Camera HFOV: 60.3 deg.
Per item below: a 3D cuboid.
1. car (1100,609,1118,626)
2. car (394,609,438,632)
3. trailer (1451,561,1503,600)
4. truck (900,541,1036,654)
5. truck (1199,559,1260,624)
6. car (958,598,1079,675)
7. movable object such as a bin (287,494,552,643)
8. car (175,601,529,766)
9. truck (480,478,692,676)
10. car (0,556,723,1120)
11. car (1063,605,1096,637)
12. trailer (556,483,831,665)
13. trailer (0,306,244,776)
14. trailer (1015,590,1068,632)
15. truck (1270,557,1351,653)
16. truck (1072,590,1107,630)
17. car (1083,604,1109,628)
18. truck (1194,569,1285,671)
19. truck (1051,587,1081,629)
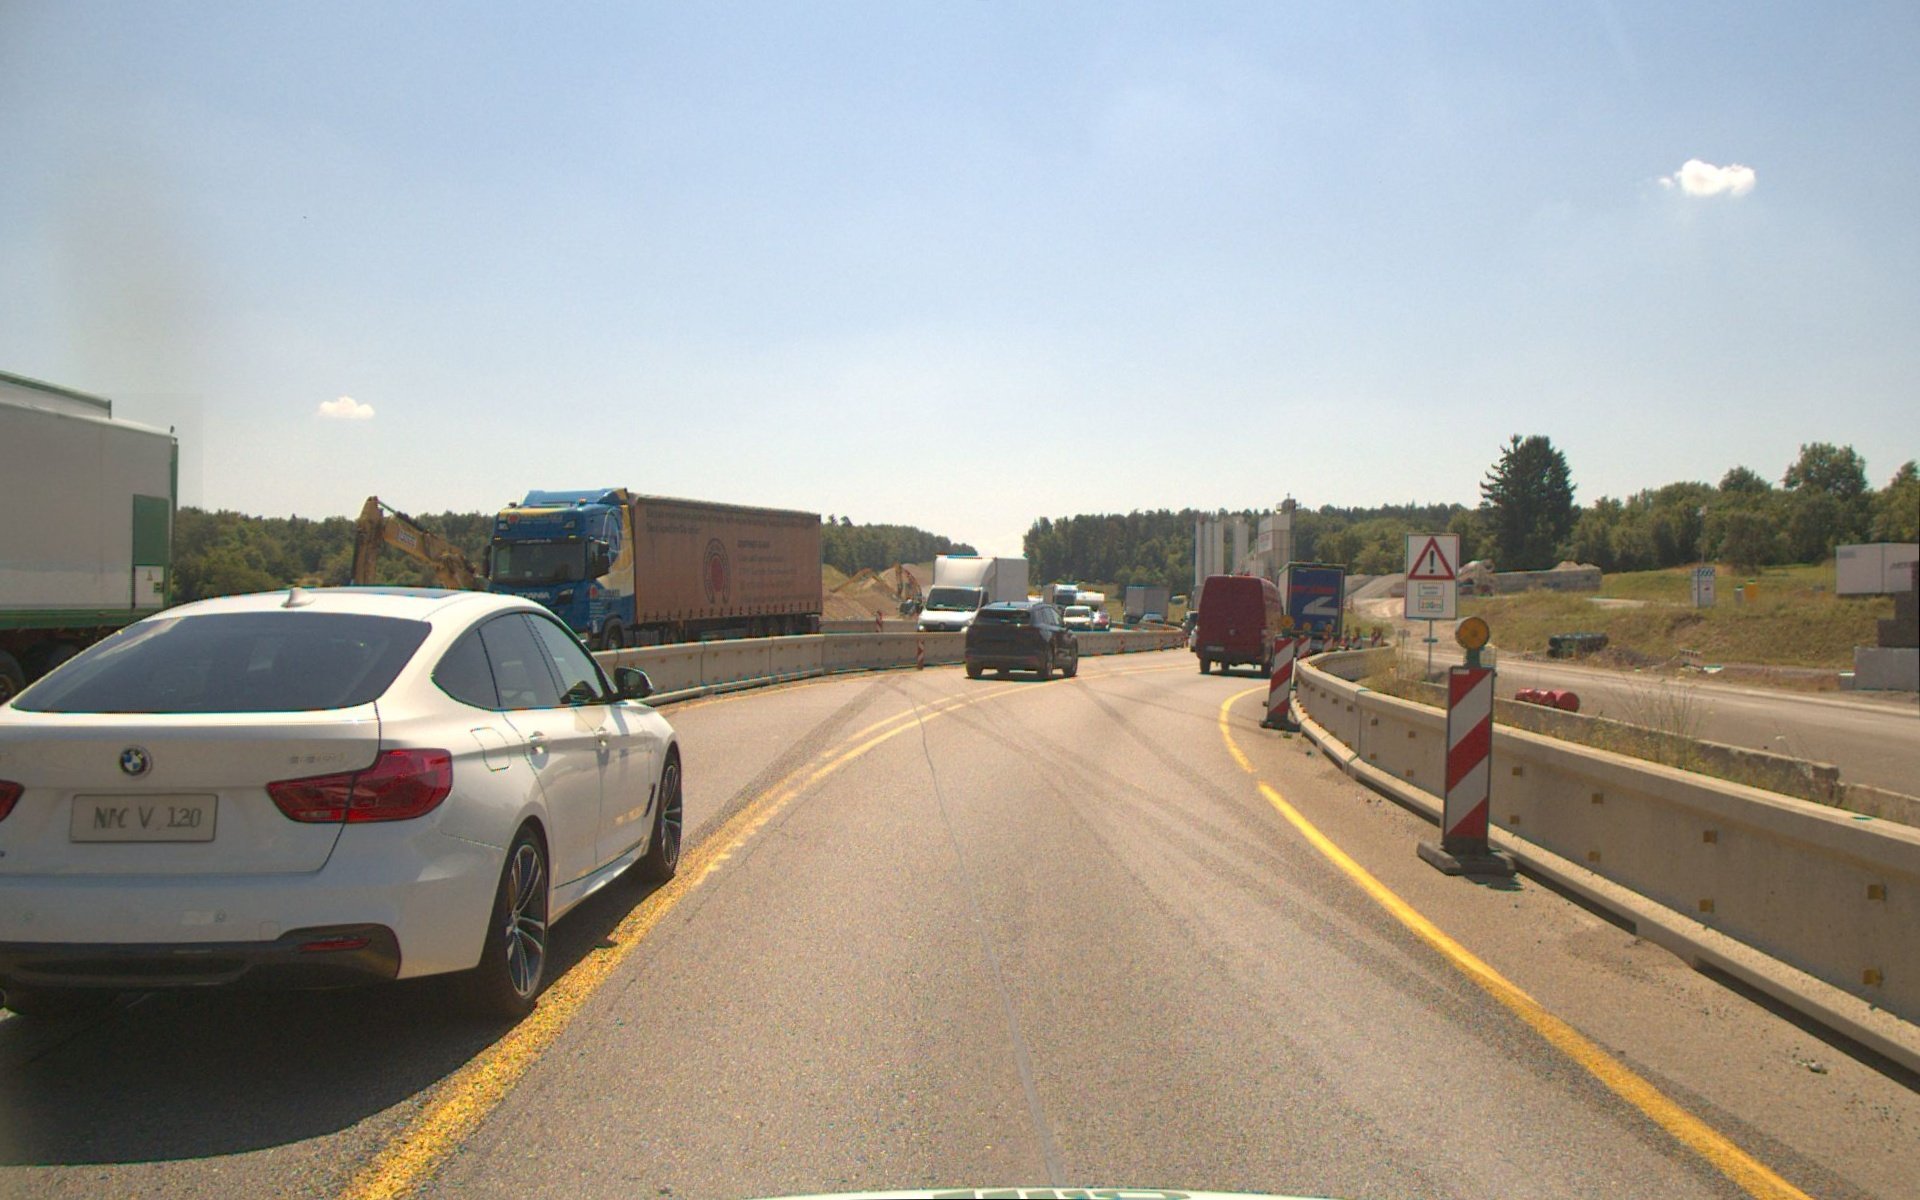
[{"bbox_3d":[14.681,1.709,162.875,1.625,1.633,4.399,1,0,7],"label":"car"},{"bbox_3d":[-34.529,1.292,105.047,1.580,1.434,4.443,1,0,-4],"label":"car"},{"bbox_3d":[56.543,-2.086,181.129,2.706,4.186,6.730,1,0,-10],"label":"trailer"},{"bbox_3d":[0.386,-0.076,54.507,2.525,3.440,6.931,1,0,17],"label":"truck"},{"bbox_3d":[20.725,-0.634,127.761,3.606,4.774,9.757,1,0,4],"label":"truck"},{"bbox_3d":[1.325,0.751,35.871,1.757,1.561,3.934,1,0,15],"label":"car"},{"bbox_3d":[-17.177,-0.924,53.533,2.864,4.405,9.326,1,0,21],"label":"movable object such as a bin"},{"bbox_3d":[-6.256,0.775,17.648,1.717,1.504,4.539,1,0,6],"label":"car"},{"bbox_3d":[-8.341,-0.492,37.589,2.490,4.152,5.550,1,0,13],"label":"truck"},{"bbox_3d":[-2.321,0.668,7.149,1.758,1.561,5.074,0,0,1],"label":"car"},{"bbox_3d":[7.725,1.301,106.409,1.826,1.988,4.896,1,0,7],"label":"car"},{"bbox_3d":[-6.724,-0.597,44.908,2.531,4.224,13.075,1,0,13],"label":"trailer"},{"bbox_3d":[-9.765,-0.539,14.081,2.306,4.224,12.493,1,0,-2],"label":"trailer"},{"bbox_3d":[4.146,0.544,83.876,1.826,2.057,4.439,1,0,14],"label":"trailer"},{"bbox_3d":[16.350,0.233,77.691,2.951,4.225,8.278,1,0,7],"label":"truck"},{"bbox_3d":[10.448,0.763,134.252,2.391,3.125,7.249,1,0,1],"label":"truck"},{"bbox_3d":[9.753,1.110,118.240,1.683,1.656,4.339,1,0,7],"label":"car"},{"bbox_3d":[8.078,0.535,47.398,2.067,2.679,6.489,1,0,14],"label":"truck"},{"bbox_3d":[10.616,0.772,165.709,2.644,4.133,5.505,1,0,7],"label":"truck"}]
